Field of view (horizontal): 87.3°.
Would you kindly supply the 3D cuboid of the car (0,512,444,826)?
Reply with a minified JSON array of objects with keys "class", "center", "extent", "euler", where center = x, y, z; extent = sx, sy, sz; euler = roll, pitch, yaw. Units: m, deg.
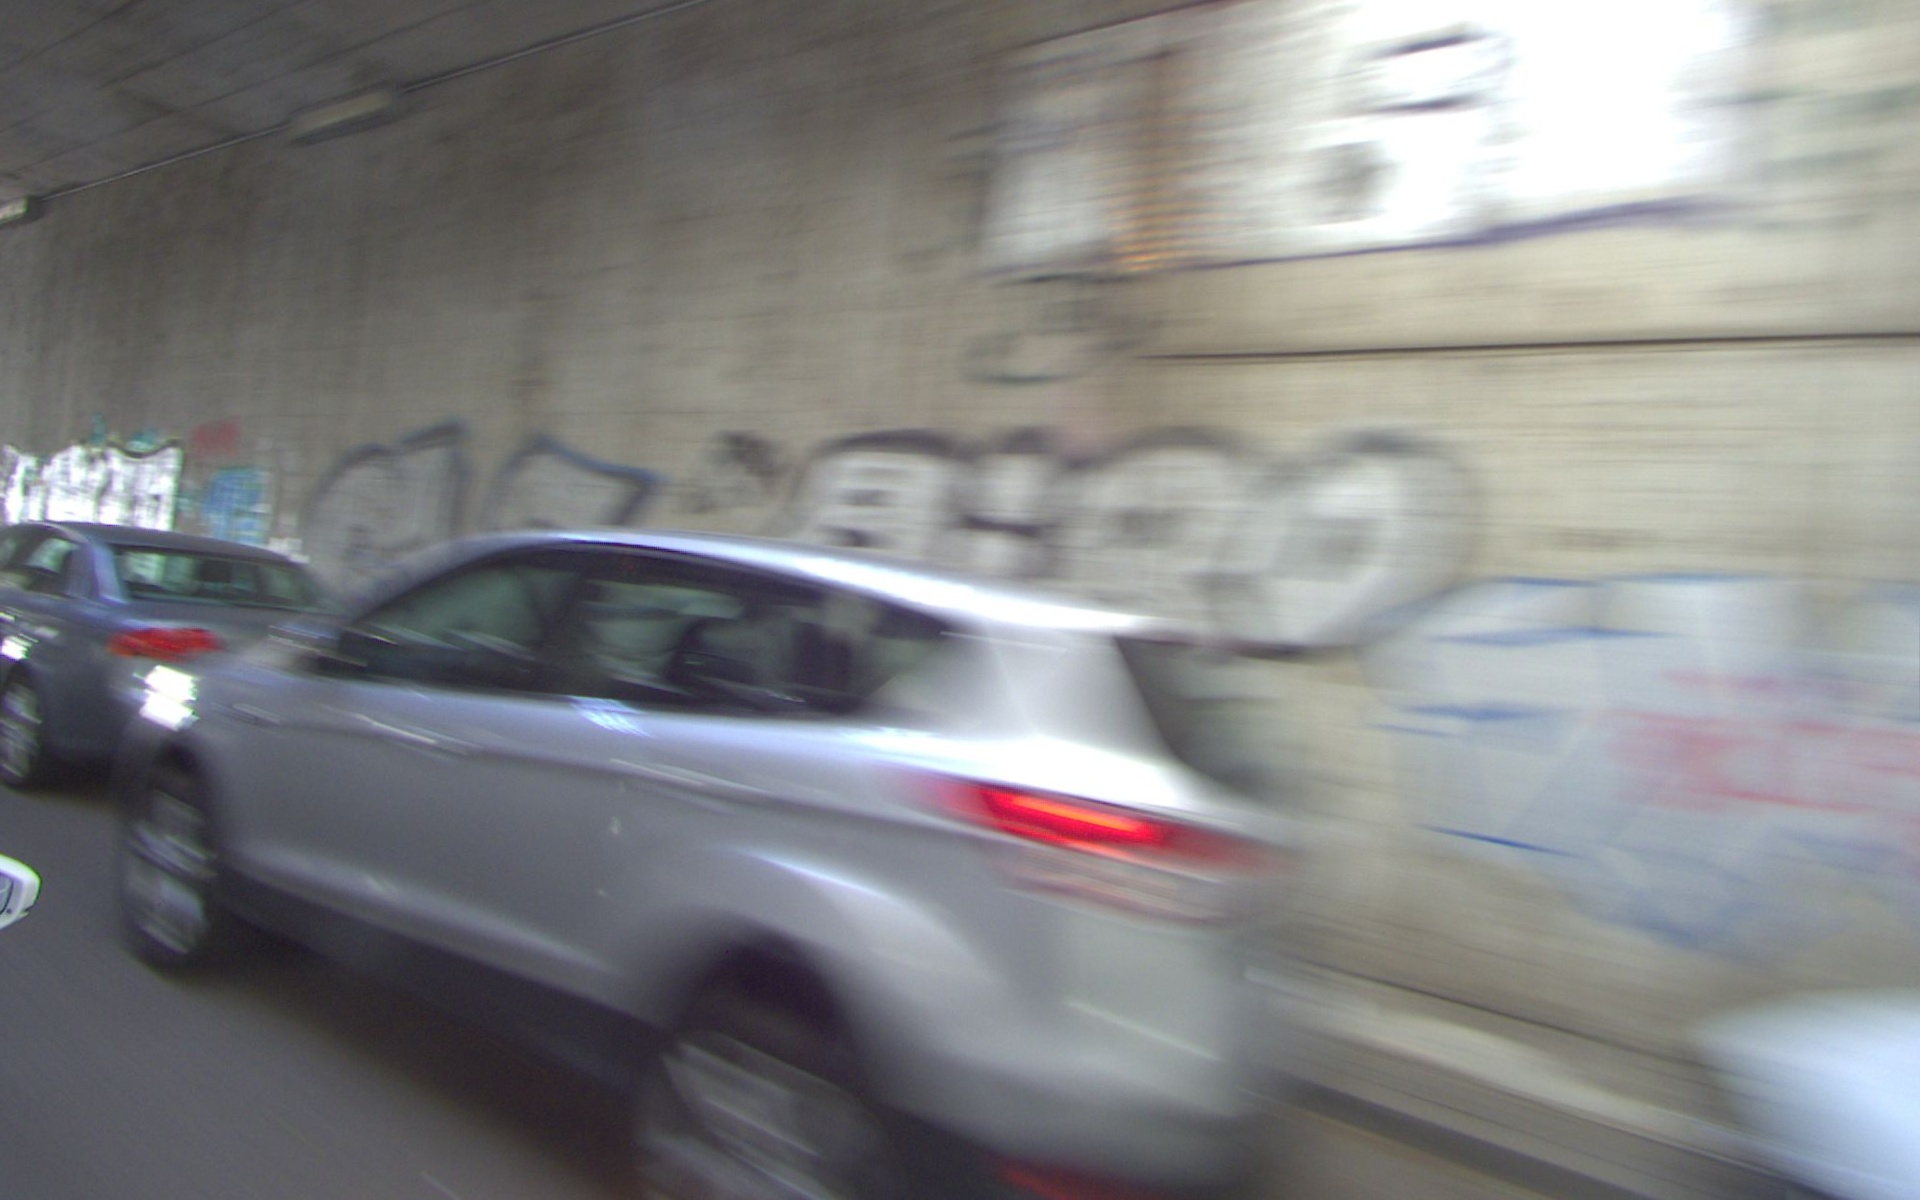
[{"class":"car","center":[-5.508,0.232,6.535],"extent":[4.300,1.390,1.704],"euler":[7,-1,31]}]

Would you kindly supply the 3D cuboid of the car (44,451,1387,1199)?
[{"class":"car","center":[-1.047,0.589,3.482],"extent":[4.297,1.686,1.856],"euler":[7,-1,31]}]

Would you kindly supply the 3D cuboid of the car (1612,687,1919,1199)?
[{"class":"car","center":[3.212,1.136,0.969],"extent":[4.084,1.565,1.733],"euler":[6,-1,28]}]
